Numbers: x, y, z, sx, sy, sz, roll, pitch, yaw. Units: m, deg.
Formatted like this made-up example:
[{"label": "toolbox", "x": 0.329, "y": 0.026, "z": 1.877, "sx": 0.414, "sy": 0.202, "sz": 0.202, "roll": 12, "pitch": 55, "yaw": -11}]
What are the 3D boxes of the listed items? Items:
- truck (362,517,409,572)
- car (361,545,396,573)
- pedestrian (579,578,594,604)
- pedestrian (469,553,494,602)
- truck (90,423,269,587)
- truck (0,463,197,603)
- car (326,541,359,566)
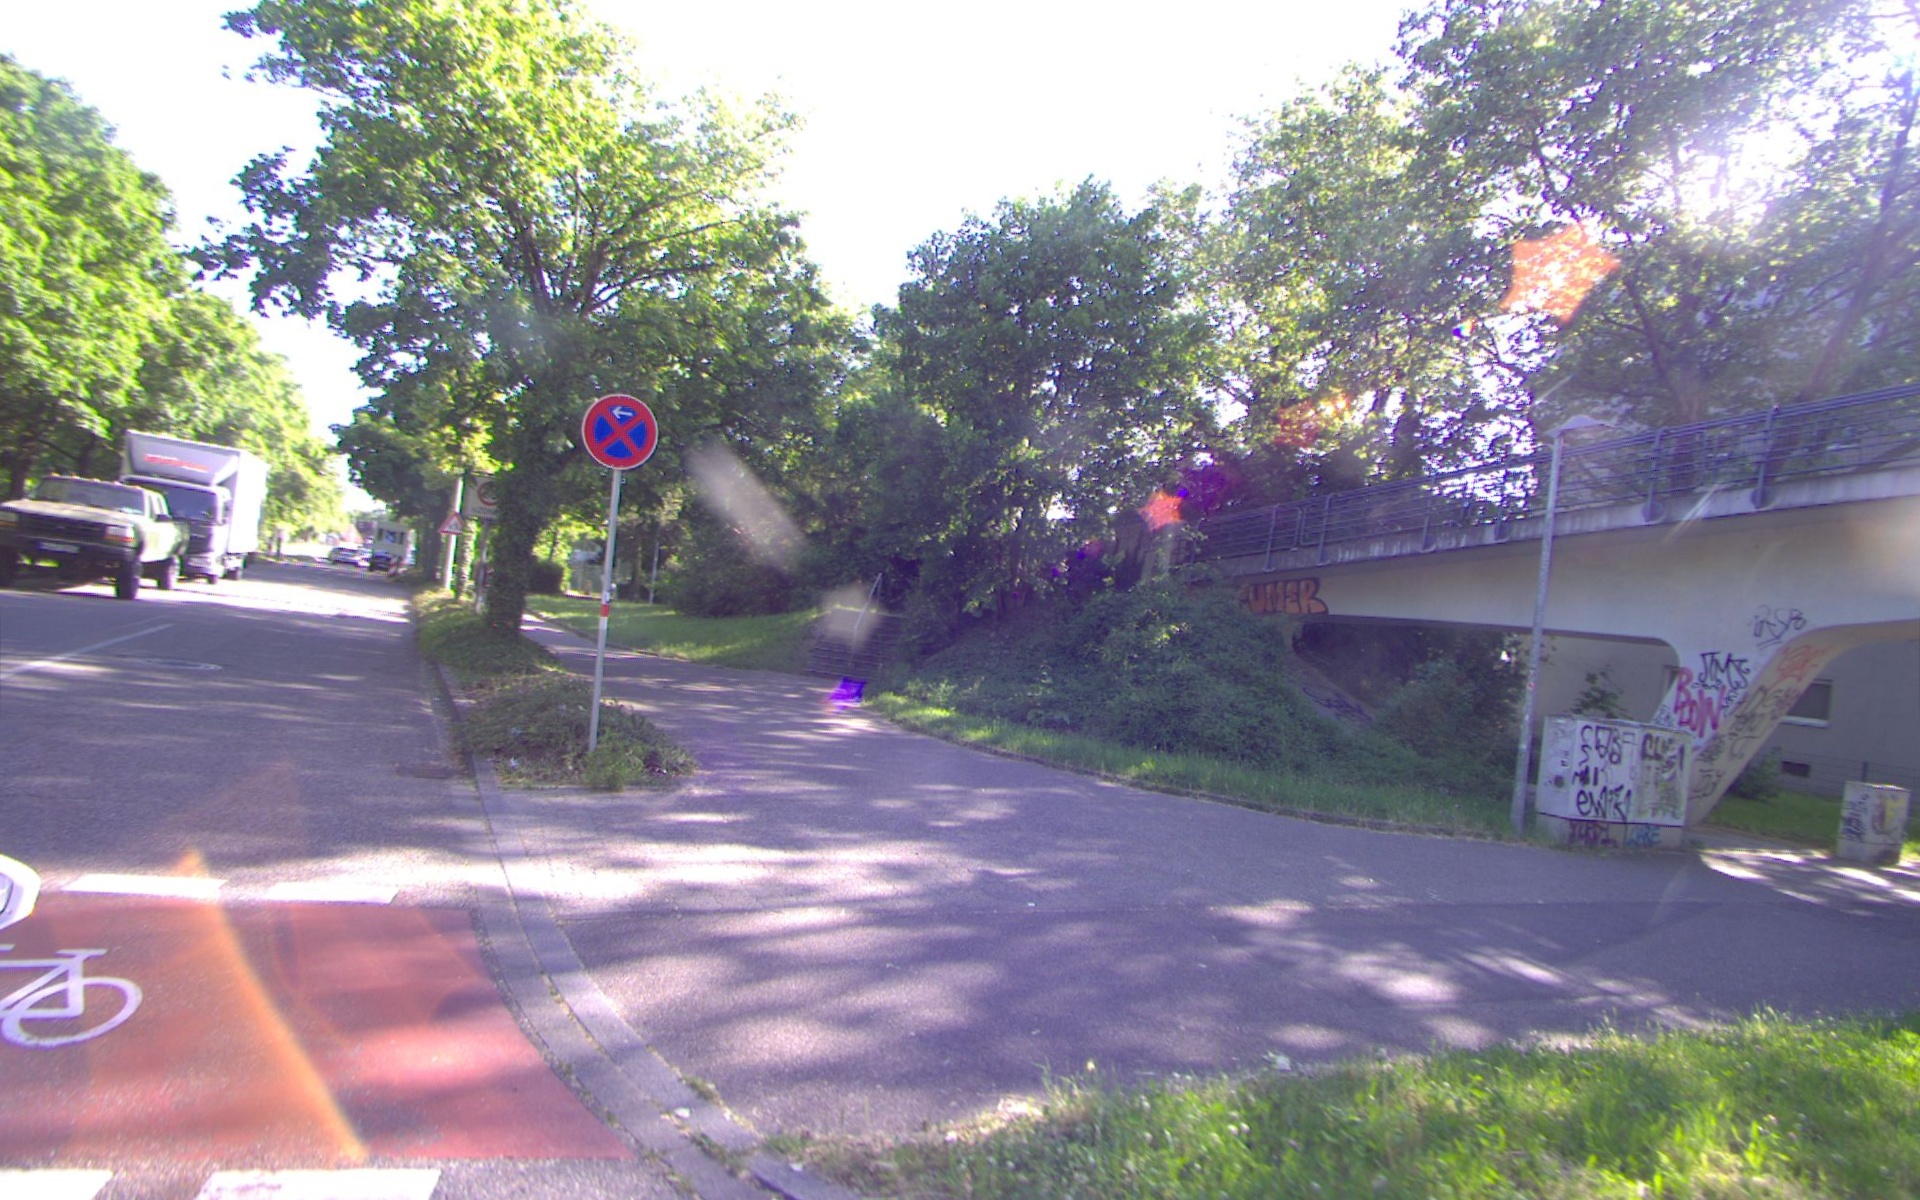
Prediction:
[{"label": "truck", "x": -49.061, "y": -4.689, "z": 86.109, "sx": 2.866, "sy": 3.990, "sz": 9.927, "roll": 9, "pitch": -2, "yaw": -29}, {"label": "car", "x": -38.560, "y": -2.699, "z": 66.754, "sx": 1.781, "sy": 1.527, "sz": 3.971, "roll": 9, "pitch": -2, "yaw": -29}, {"label": "pedestrian", "x": -25.569, "y": -0.601, "z": 68.824, "sx": 0.643, "sy": 1.680, "sz": 0.645, "roll": 8, "pitch": -1, "yaw": -28}, {"label": "pedestrian", "x": -19.110, "y": -0.909, "z": 40.196, "sx": 0.643, "sy": 1.841, "sz": 0.645, "roll": 8, "pitch": -1, "yaw": -29}, {"label": "truck", "x": -21.777, "y": -2.473, "z": 28.536, "sx": 2.595, "sy": 3.670, "sz": 7.896, "roll": 8, "pitch": -1, "yaw": -30}, {"label": "truck", "x": -17.094, "y": -1.269, "z": 20.014, "sx": 2.098, "sy": 2.118, "sz": 6.595, "roll": 8, "pitch": -2, "yaw": -31}, {"label": "car", "x": -46.940, "y": -3.519, "z": 76.540, "sx": 1.781, "sy": 1.527, "sz": 3.971, "roll": 9, "pitch": -2, "yaw": -29}]
